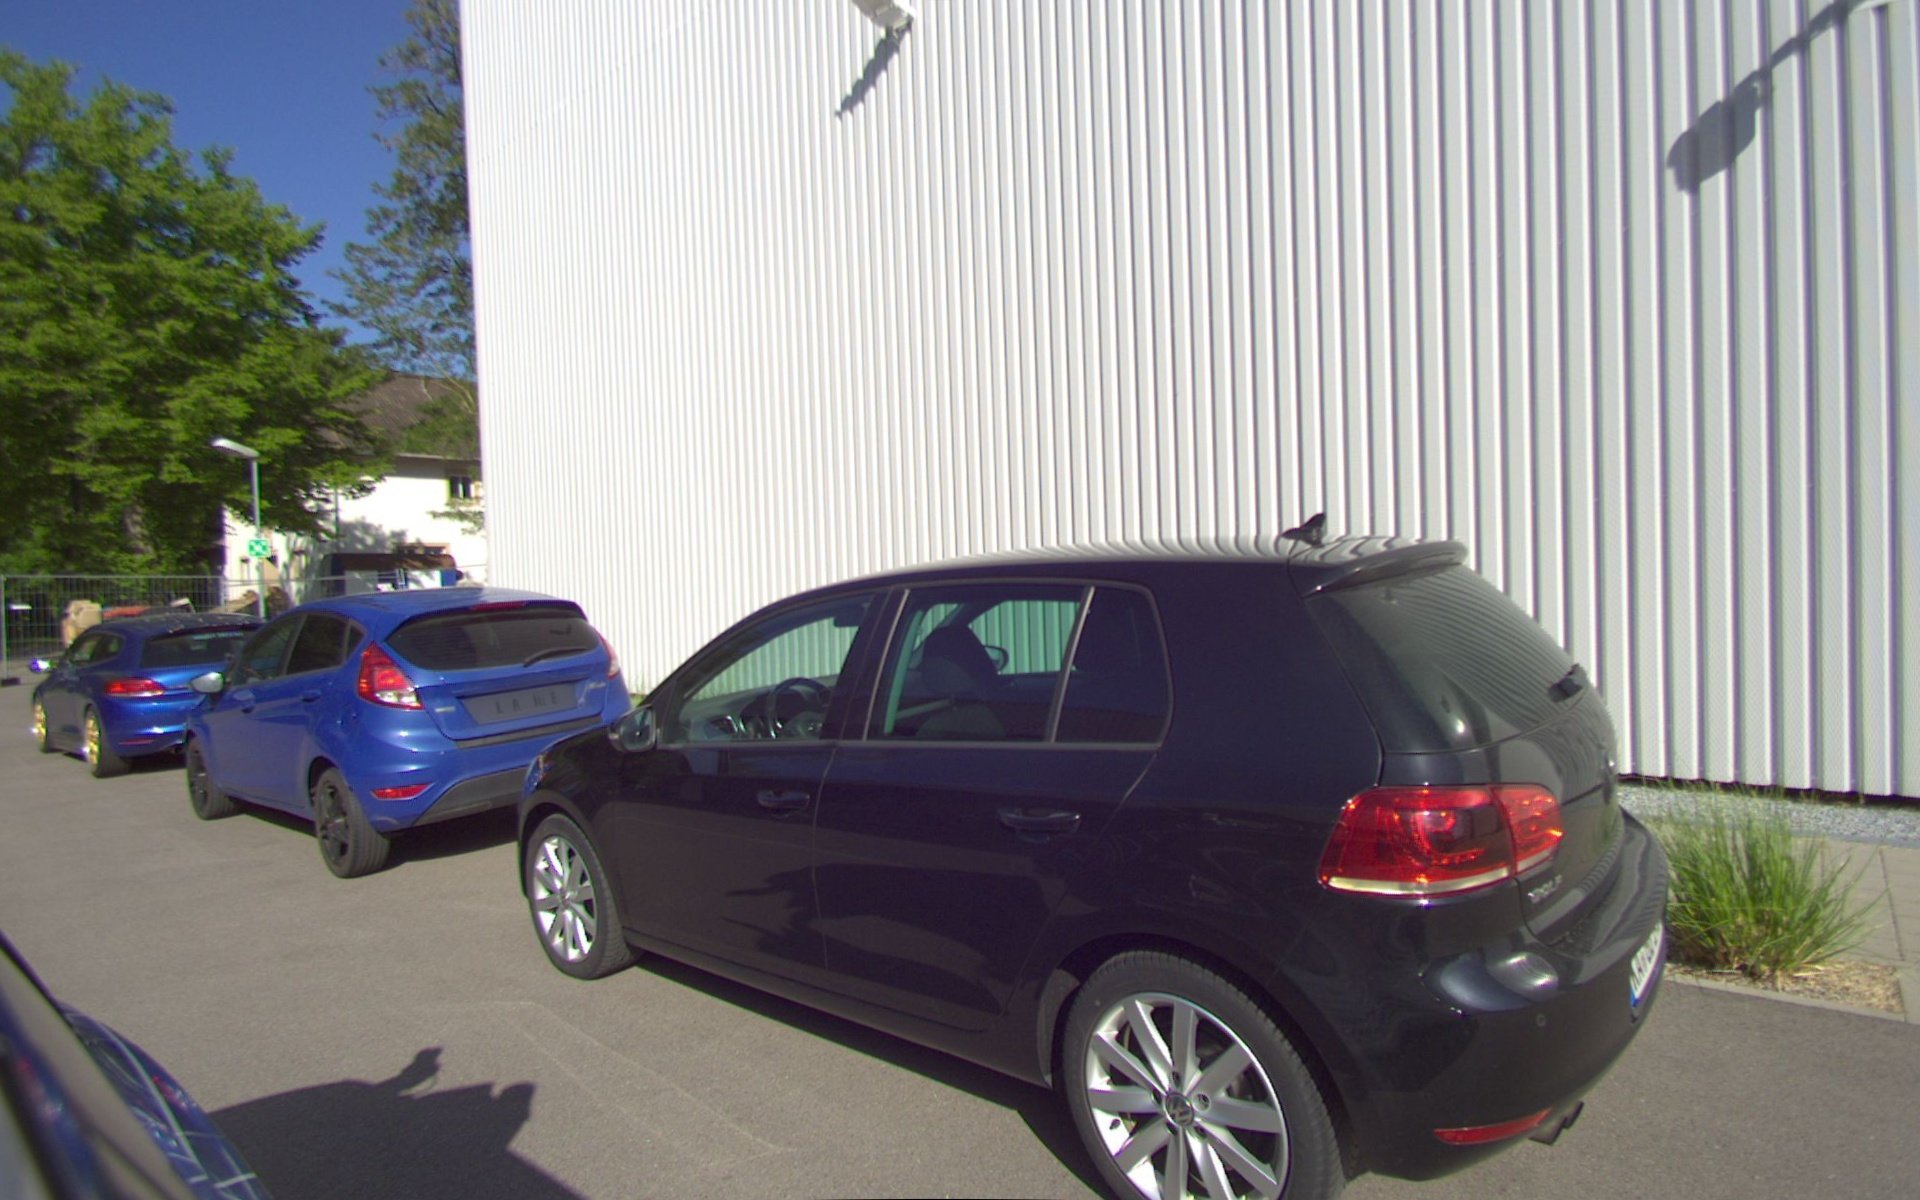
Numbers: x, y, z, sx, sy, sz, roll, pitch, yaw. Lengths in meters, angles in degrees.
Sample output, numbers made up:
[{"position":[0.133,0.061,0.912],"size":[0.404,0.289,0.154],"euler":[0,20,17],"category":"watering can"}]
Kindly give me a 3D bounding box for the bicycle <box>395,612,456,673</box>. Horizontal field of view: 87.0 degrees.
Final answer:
[{"position":[-10.018,0.779,18.949],"size":[1.705,1.094,0.388],"euler":[-2,-1,40],"category":"bicycle"}]

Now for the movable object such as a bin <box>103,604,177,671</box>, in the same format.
[{"position":[-18.928,0.855,23.350],"size":[1.279,1.489,1.126],"euler":[-3,-2,41],"category":"movable object such as a bin"}]

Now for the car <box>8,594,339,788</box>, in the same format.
[{"position":[-7.833,0.782,9.971],"size":[3.794,1.459,1.695],"euler":[-2,2,39],"category":"car"}]

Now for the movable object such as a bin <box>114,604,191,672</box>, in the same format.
[{"position":[-17.908,0.824,22.446],"size":[1.288,1.445,1.126],"euler":[-2,-1,41],"category":"movable object such as a bin"}]

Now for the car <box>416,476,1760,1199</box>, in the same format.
[{"position":[-0.047,0.548,3.496],"size":[4.312,1.456,1.739],"euler":[-2,3,41],"category":"car"}]

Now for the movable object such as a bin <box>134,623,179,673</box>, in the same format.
[{"position":[-17.109,1.013,21.552],"size":[0.678,1.031,0.707],"euler":[0,-2,-44],"category":"movable object such as a bin"}]

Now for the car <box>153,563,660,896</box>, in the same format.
[{"position":[-3.633,0.634,6.412],"size":[3.518,1.499,1.533],"euler":[-2,2,39],"category":"car"}]
